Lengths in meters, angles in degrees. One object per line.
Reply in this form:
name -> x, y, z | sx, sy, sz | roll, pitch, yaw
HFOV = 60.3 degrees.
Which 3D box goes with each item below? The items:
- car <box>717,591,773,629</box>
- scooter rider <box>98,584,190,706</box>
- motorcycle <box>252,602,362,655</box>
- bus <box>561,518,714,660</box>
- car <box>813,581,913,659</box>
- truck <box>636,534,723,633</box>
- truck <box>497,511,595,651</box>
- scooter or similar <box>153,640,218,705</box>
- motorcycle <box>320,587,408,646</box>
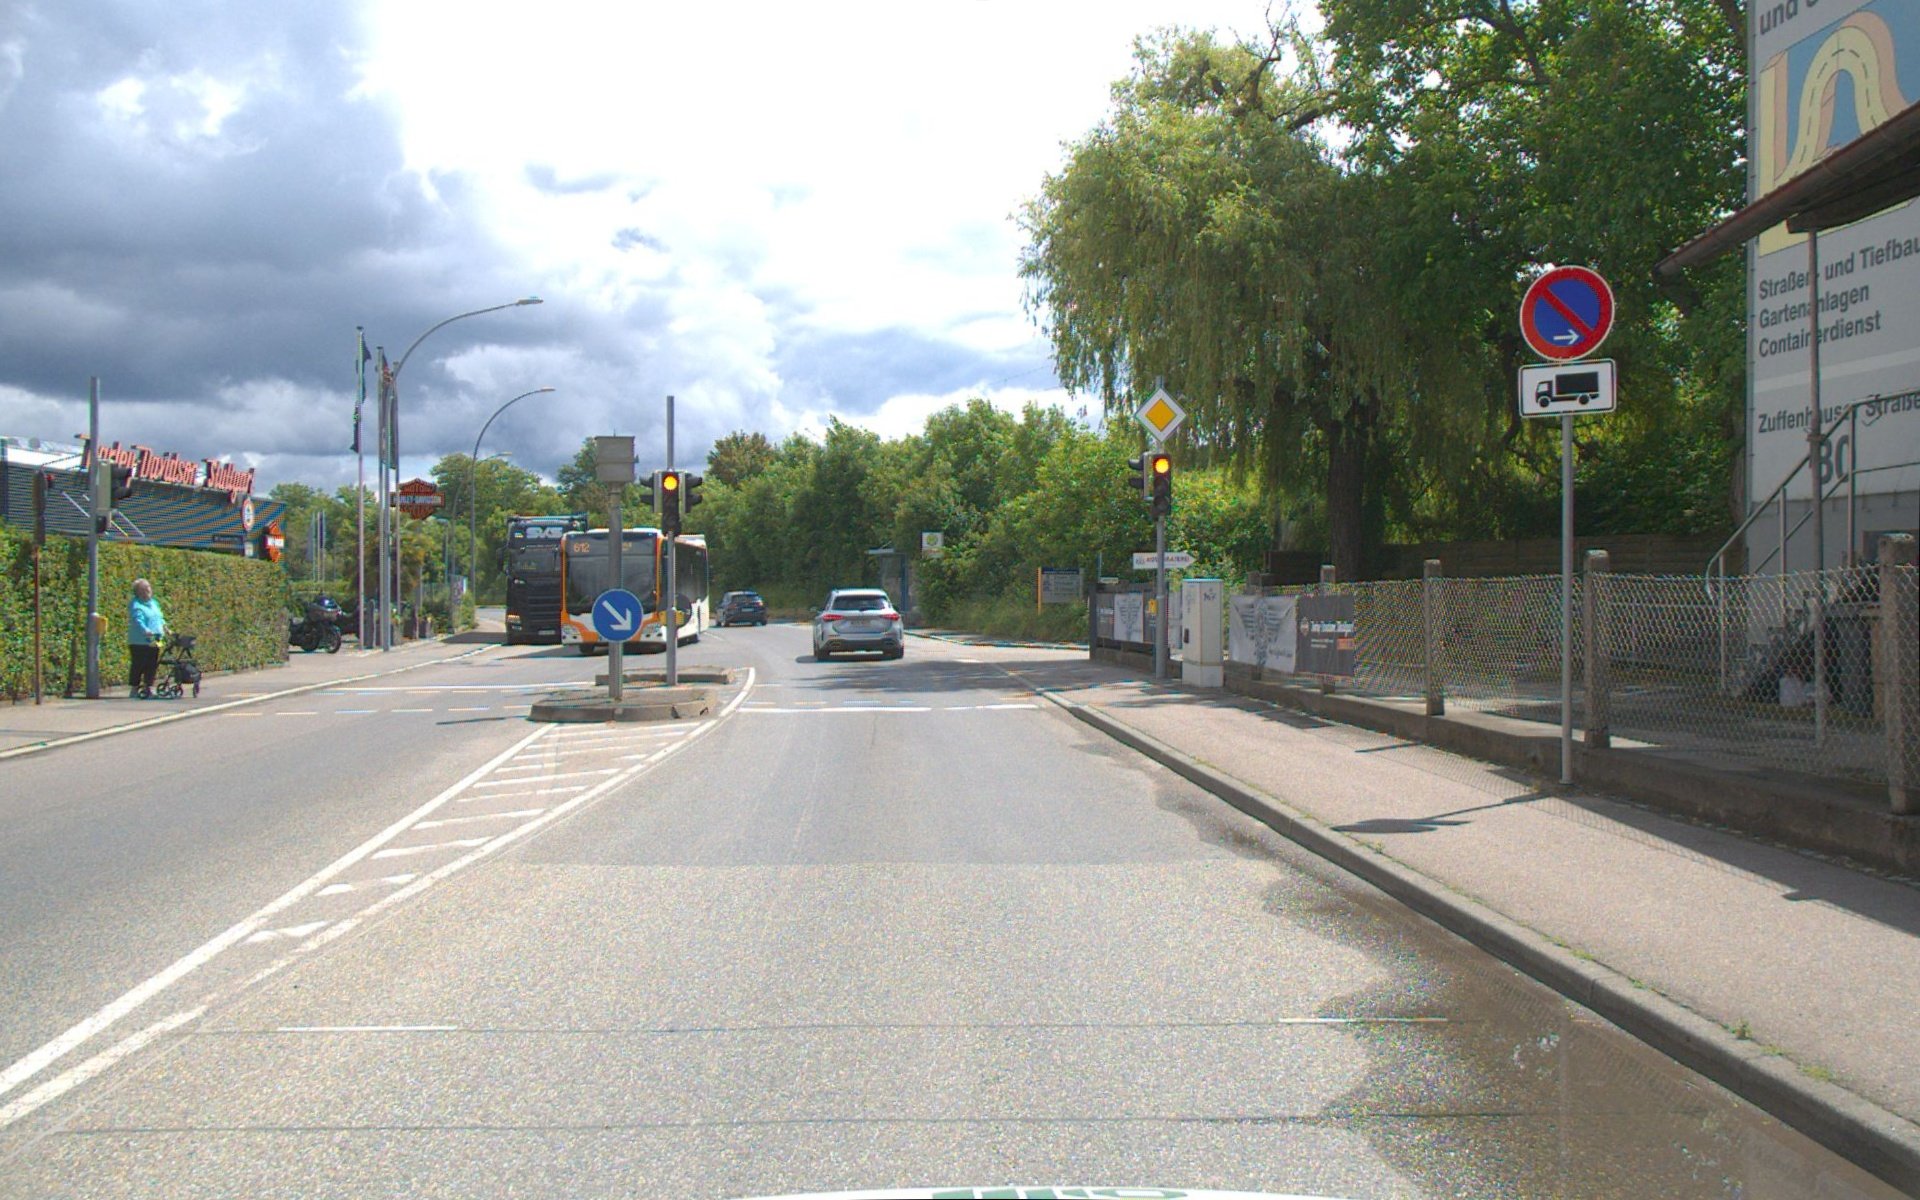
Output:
car -> -9.119, 0.409, 69.910 | 1.853, 1.535, 3.984 | 0, 0, -15
scooter rider -> -11.102, 0.593, 22.520 | 0.861, 1.617, 0.795 | -1, 0, -4
motorcycle -> -15.866, 0.680, 40.178 | 2.447, 1.239, 0.927 | 0, -1, 19
bus -> -8.595, -0.299, 45.537 | 2.723, 3.323, 12.111 | -1, 0, -5
car -> -2.113, 0.397, 35.111 | 1.849, 1.534, 3.994 | -1, 0, -7
truck -> -11.272, -0.633, 65.704 | 2.791, 3.602, 9.691 | -1, 0, -13
truck -> -13.645, -0.555, 55.052 | 2.385, 4.203, 9.128 | 2, 0, -10
scooter or similar -> -10.522, 0.983, 22.488 | 0.599, 0.846, 0.659 | -1, 0, -4
motorcycle -> -17.585, 0.488, 48.815 | 2.254, 1.713, 1.042 | 0, -1, 19
